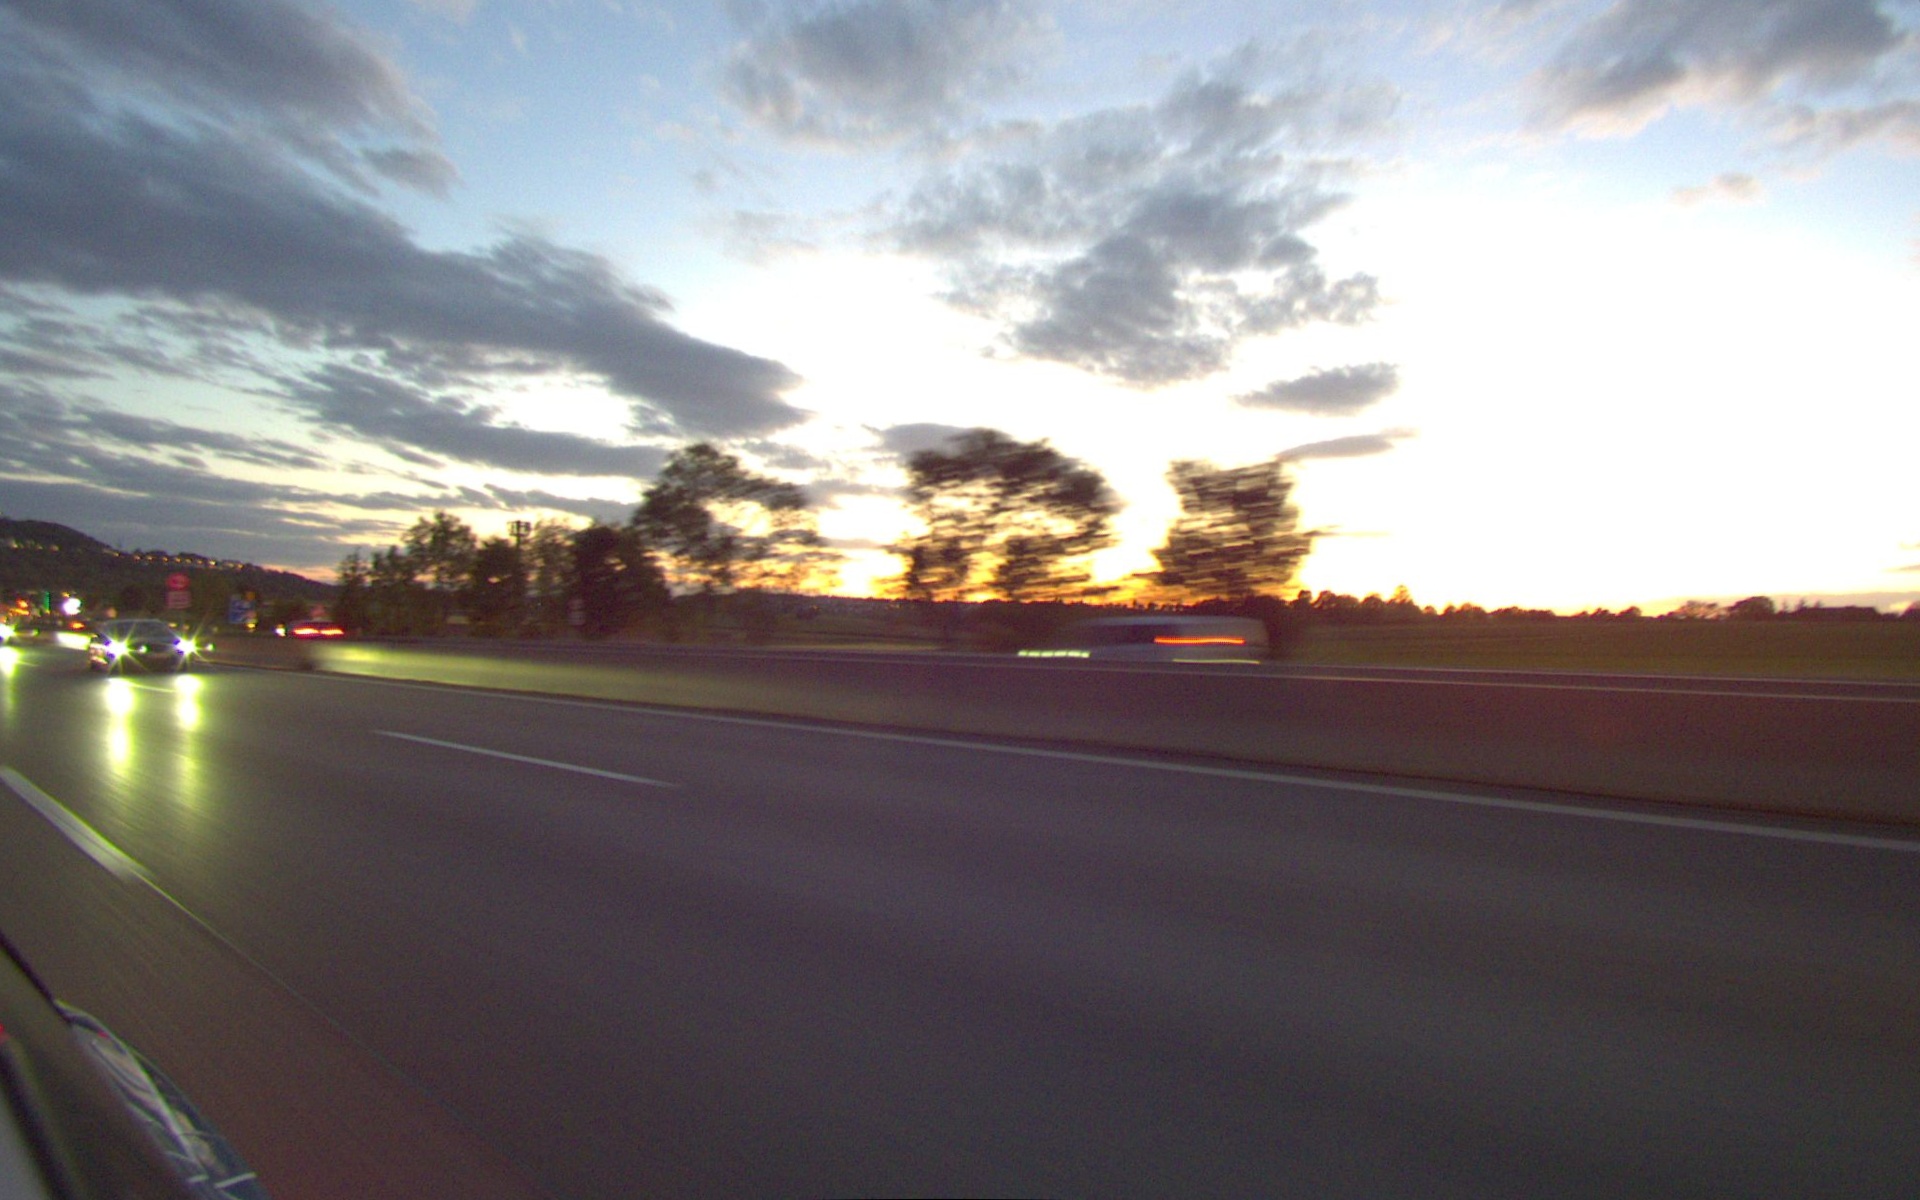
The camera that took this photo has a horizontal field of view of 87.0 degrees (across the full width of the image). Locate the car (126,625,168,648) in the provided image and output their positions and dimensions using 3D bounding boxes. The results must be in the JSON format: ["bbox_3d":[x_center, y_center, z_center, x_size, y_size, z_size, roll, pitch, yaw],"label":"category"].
[{"bbox_3d":[-59.467,2.637,74.031,3.998,1.558,1.714,-1,0,41],"label":"car"}]

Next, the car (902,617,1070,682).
[{"bbox_3d":[0.649,1.326,28.547,4.792,1.656,1.643,-1,0,41],"label":"car"}]

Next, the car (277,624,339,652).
[{"bbox_3d":[-36.872,2.118,57.170,4.272,1.465,1.841,-1,0,41],"label":"car"}]

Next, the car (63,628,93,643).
[{"bbox_3d":[-89.057,3.609,102.177,4.109,1.372,1.726,-1,0,41],"label":"car"}]

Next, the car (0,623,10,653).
[{"bbox_3d":[-55.003,2.134,56.906,4.854,1.660,1.796,-1,0,41],"label":"car"}]

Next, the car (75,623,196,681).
[{"bbox_3d":[-23.776,1.430,29.093,5.391,1.448,1.796,-1,0,41],"label":"car"}]
